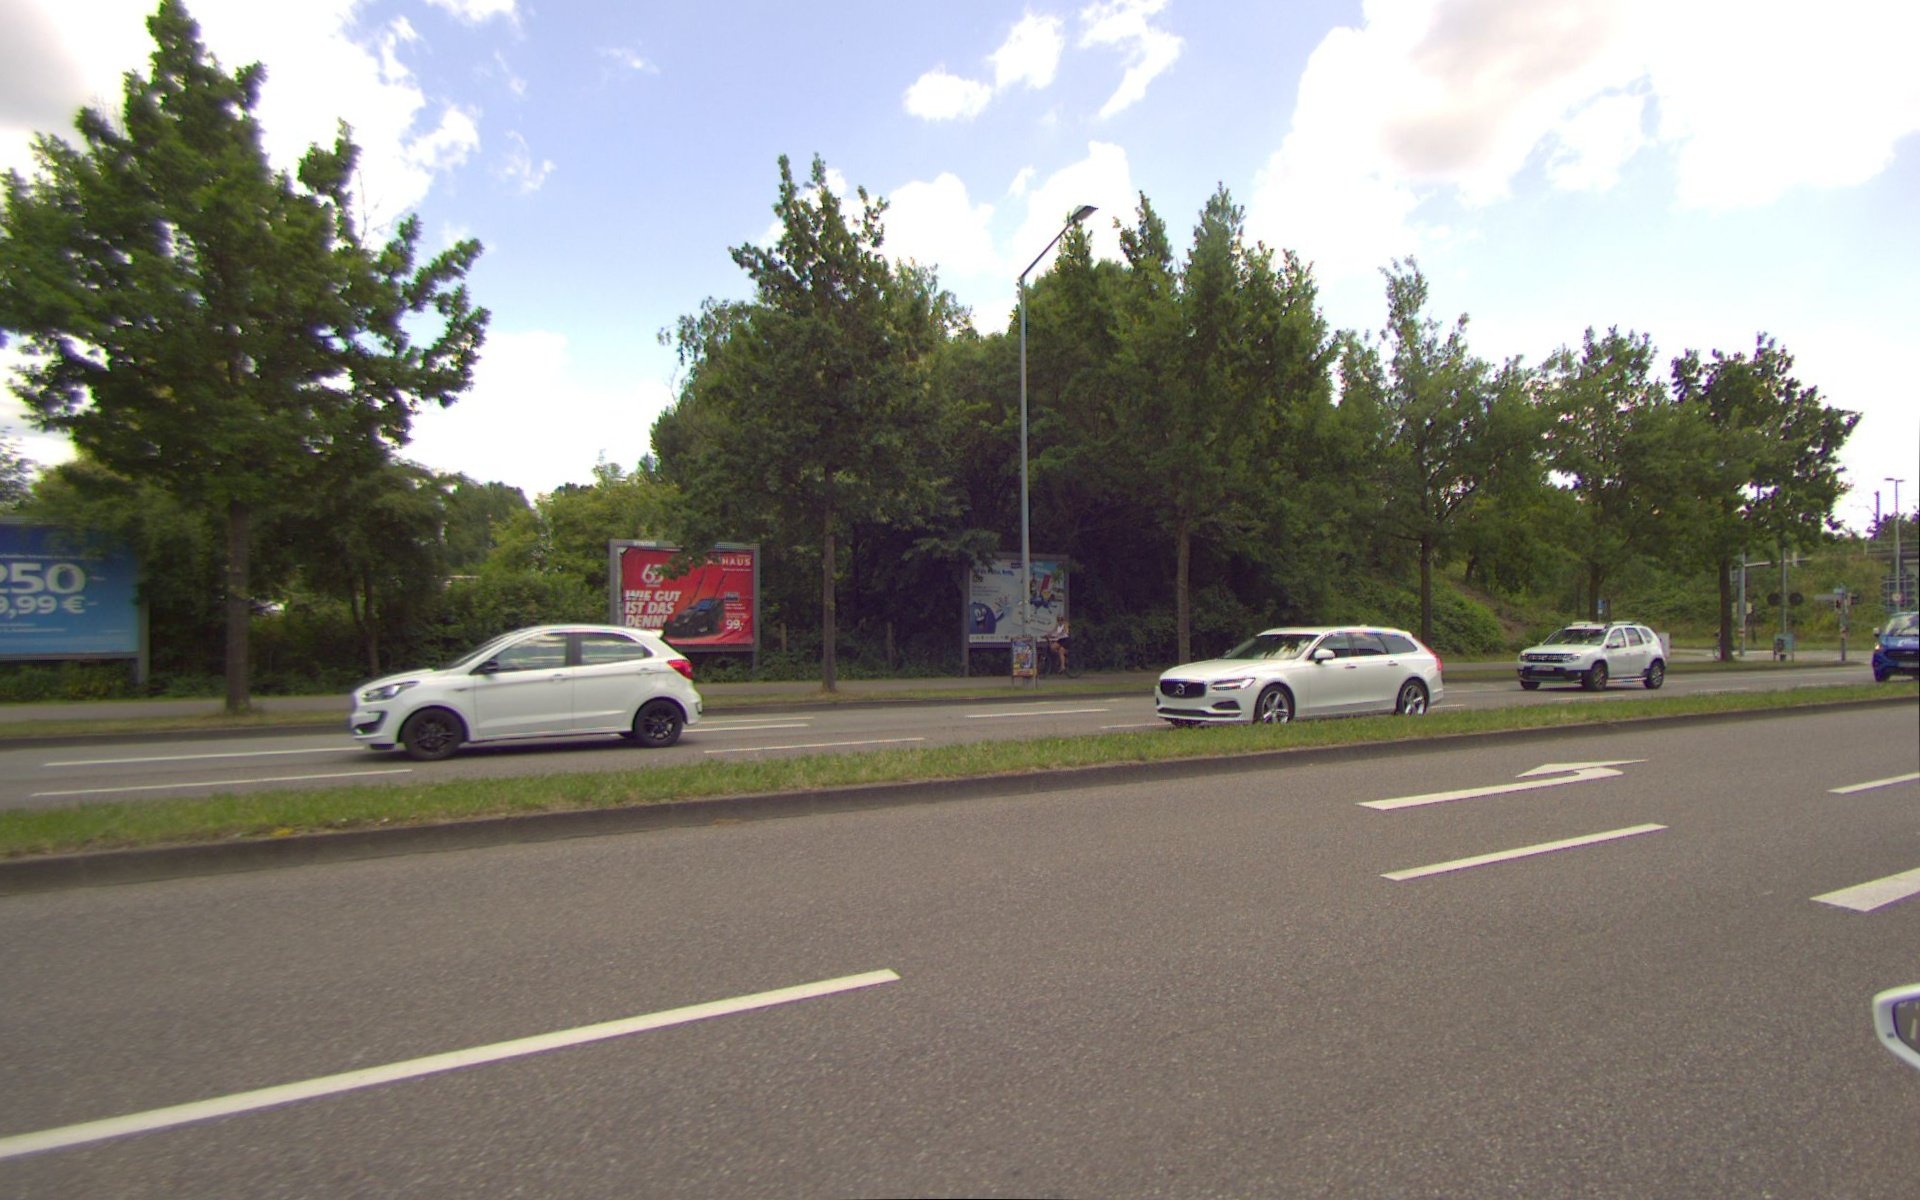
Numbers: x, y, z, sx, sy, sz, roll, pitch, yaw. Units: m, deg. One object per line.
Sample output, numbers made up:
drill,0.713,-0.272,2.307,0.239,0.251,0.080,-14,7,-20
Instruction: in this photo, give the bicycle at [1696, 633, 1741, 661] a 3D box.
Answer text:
bicycle,35.984,2.238,47.649,2.364,1.287,0.818,1,0,-29

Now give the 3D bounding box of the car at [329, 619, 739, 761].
car,-5.134,1.015,12.351,4.365,1.461,1.905,1,-3,-31

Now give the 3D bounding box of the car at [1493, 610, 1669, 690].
car,15.534,1.226,25.088,4.360,1.825,1.983,1,-3,-32

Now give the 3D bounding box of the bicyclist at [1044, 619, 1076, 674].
bicyclist,2.764,1.286,27.684,0.704,1.484,0.492,1,0,-29

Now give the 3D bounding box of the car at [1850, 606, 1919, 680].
car,27.862,1.198,28.755,5.135,1.990,2.179,1,-2,-32

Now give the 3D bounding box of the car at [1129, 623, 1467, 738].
car,5.067,1.085,14.877,4.965,1.450,1.984,1,-2,-30

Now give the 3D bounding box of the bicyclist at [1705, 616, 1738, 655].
bicyclist,36.149,1.677,47.697,0.985,1.770,0.889,1,0,-28

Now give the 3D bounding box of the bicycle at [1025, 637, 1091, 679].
bicycle,2.701,1.577,27.612,1.822,1.121,0.507,1,0,-28
